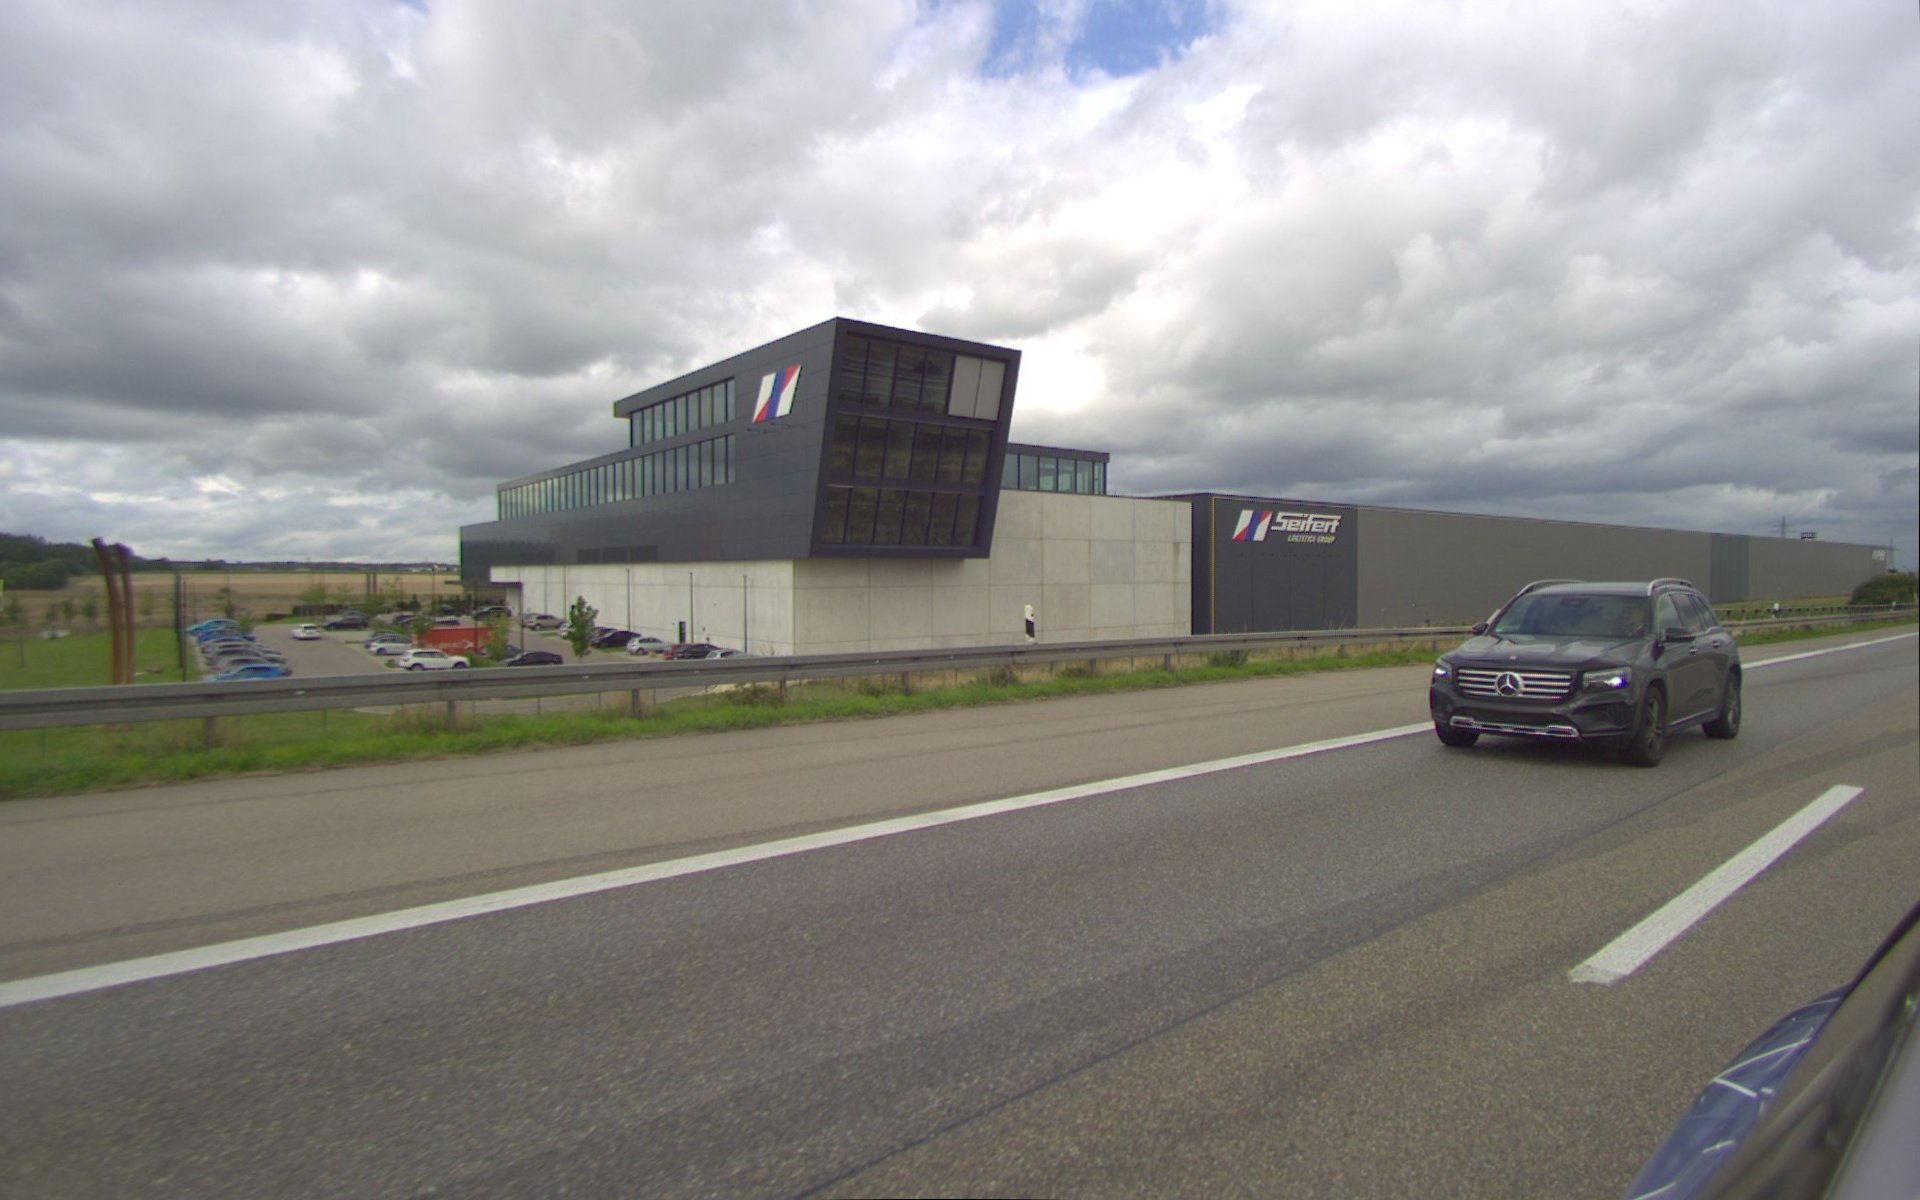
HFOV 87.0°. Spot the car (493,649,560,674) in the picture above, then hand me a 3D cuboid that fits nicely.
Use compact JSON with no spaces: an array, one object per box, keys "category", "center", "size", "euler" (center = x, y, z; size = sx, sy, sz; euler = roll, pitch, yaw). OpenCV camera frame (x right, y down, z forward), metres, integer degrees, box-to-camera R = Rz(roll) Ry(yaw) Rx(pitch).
[{"category":"car","center":[-31.527,4.442,73.588],"size":[4.182,1.513,1.677],"euler":[-1,0,-41]}]

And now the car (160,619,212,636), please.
[{"category":"car","center":[-77.241,2.732,100.970],"size":[1.675,1.513,3.936],"euler":[-1,0,44]}]

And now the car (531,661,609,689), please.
[{"category":"car","center":[-25.438,4.858,66.110],"size":[4.484,1.513,1.677],"euler":[-1,0,-41]}]

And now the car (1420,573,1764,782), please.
[{"category":"car","center":[6.564,0.574,10.313],"size":[4.286,1.629,1.836],"euler":[-2,3,-42]}]

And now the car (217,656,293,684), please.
[{"category":"car","center":[-45.723,4.527,65.685],"size":[3.931,1.513,1.677],"euler":[-1,0,-41]}]

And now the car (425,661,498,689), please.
[{"category":"car","center":[-31.591,4.719,64.133],"size":[3.878,1.513,1.677],"euler":[-1,0,-41]}]

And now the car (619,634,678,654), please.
[{"category":"car","center":[-26.082,3.660,84.875],"size":[4.484,1.513,1.677],"euler":[-1,0,-41]}]

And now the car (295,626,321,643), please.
[{"category":"car","center":[-61.499,3.219,95.448],"size":[1.650,1.513,3.995],"euler":[0,0,-39]}]

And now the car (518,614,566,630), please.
[{"category":"car","center":[-44.521,2.317,107.882],"size":[4.485,1.513,1.677],"euler":[-2,0,-41]}]

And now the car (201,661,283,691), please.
[{"category":"car","center":[-43.306,4.573,61.095],"size":[3.931,1.513,1.677],"euler":[-1,0,-41]}]

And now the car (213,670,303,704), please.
[{"category":"car","center":[-38.384,4.720,55.373],"size":[3.931,1.513,1.677],"euler":[-1,0,-41]}]

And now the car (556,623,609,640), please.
[{"category":"car","center":[-36.715,3.033,98.442],"size":[4.484,1.513,1.677],"euler":[-1,0,-41]}]

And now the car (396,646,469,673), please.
[{"category":"car","center":[-37.633,4.218,72.244],"size":[4.392,1.723,1.677],"euler":[-1,-1,-41]}]
